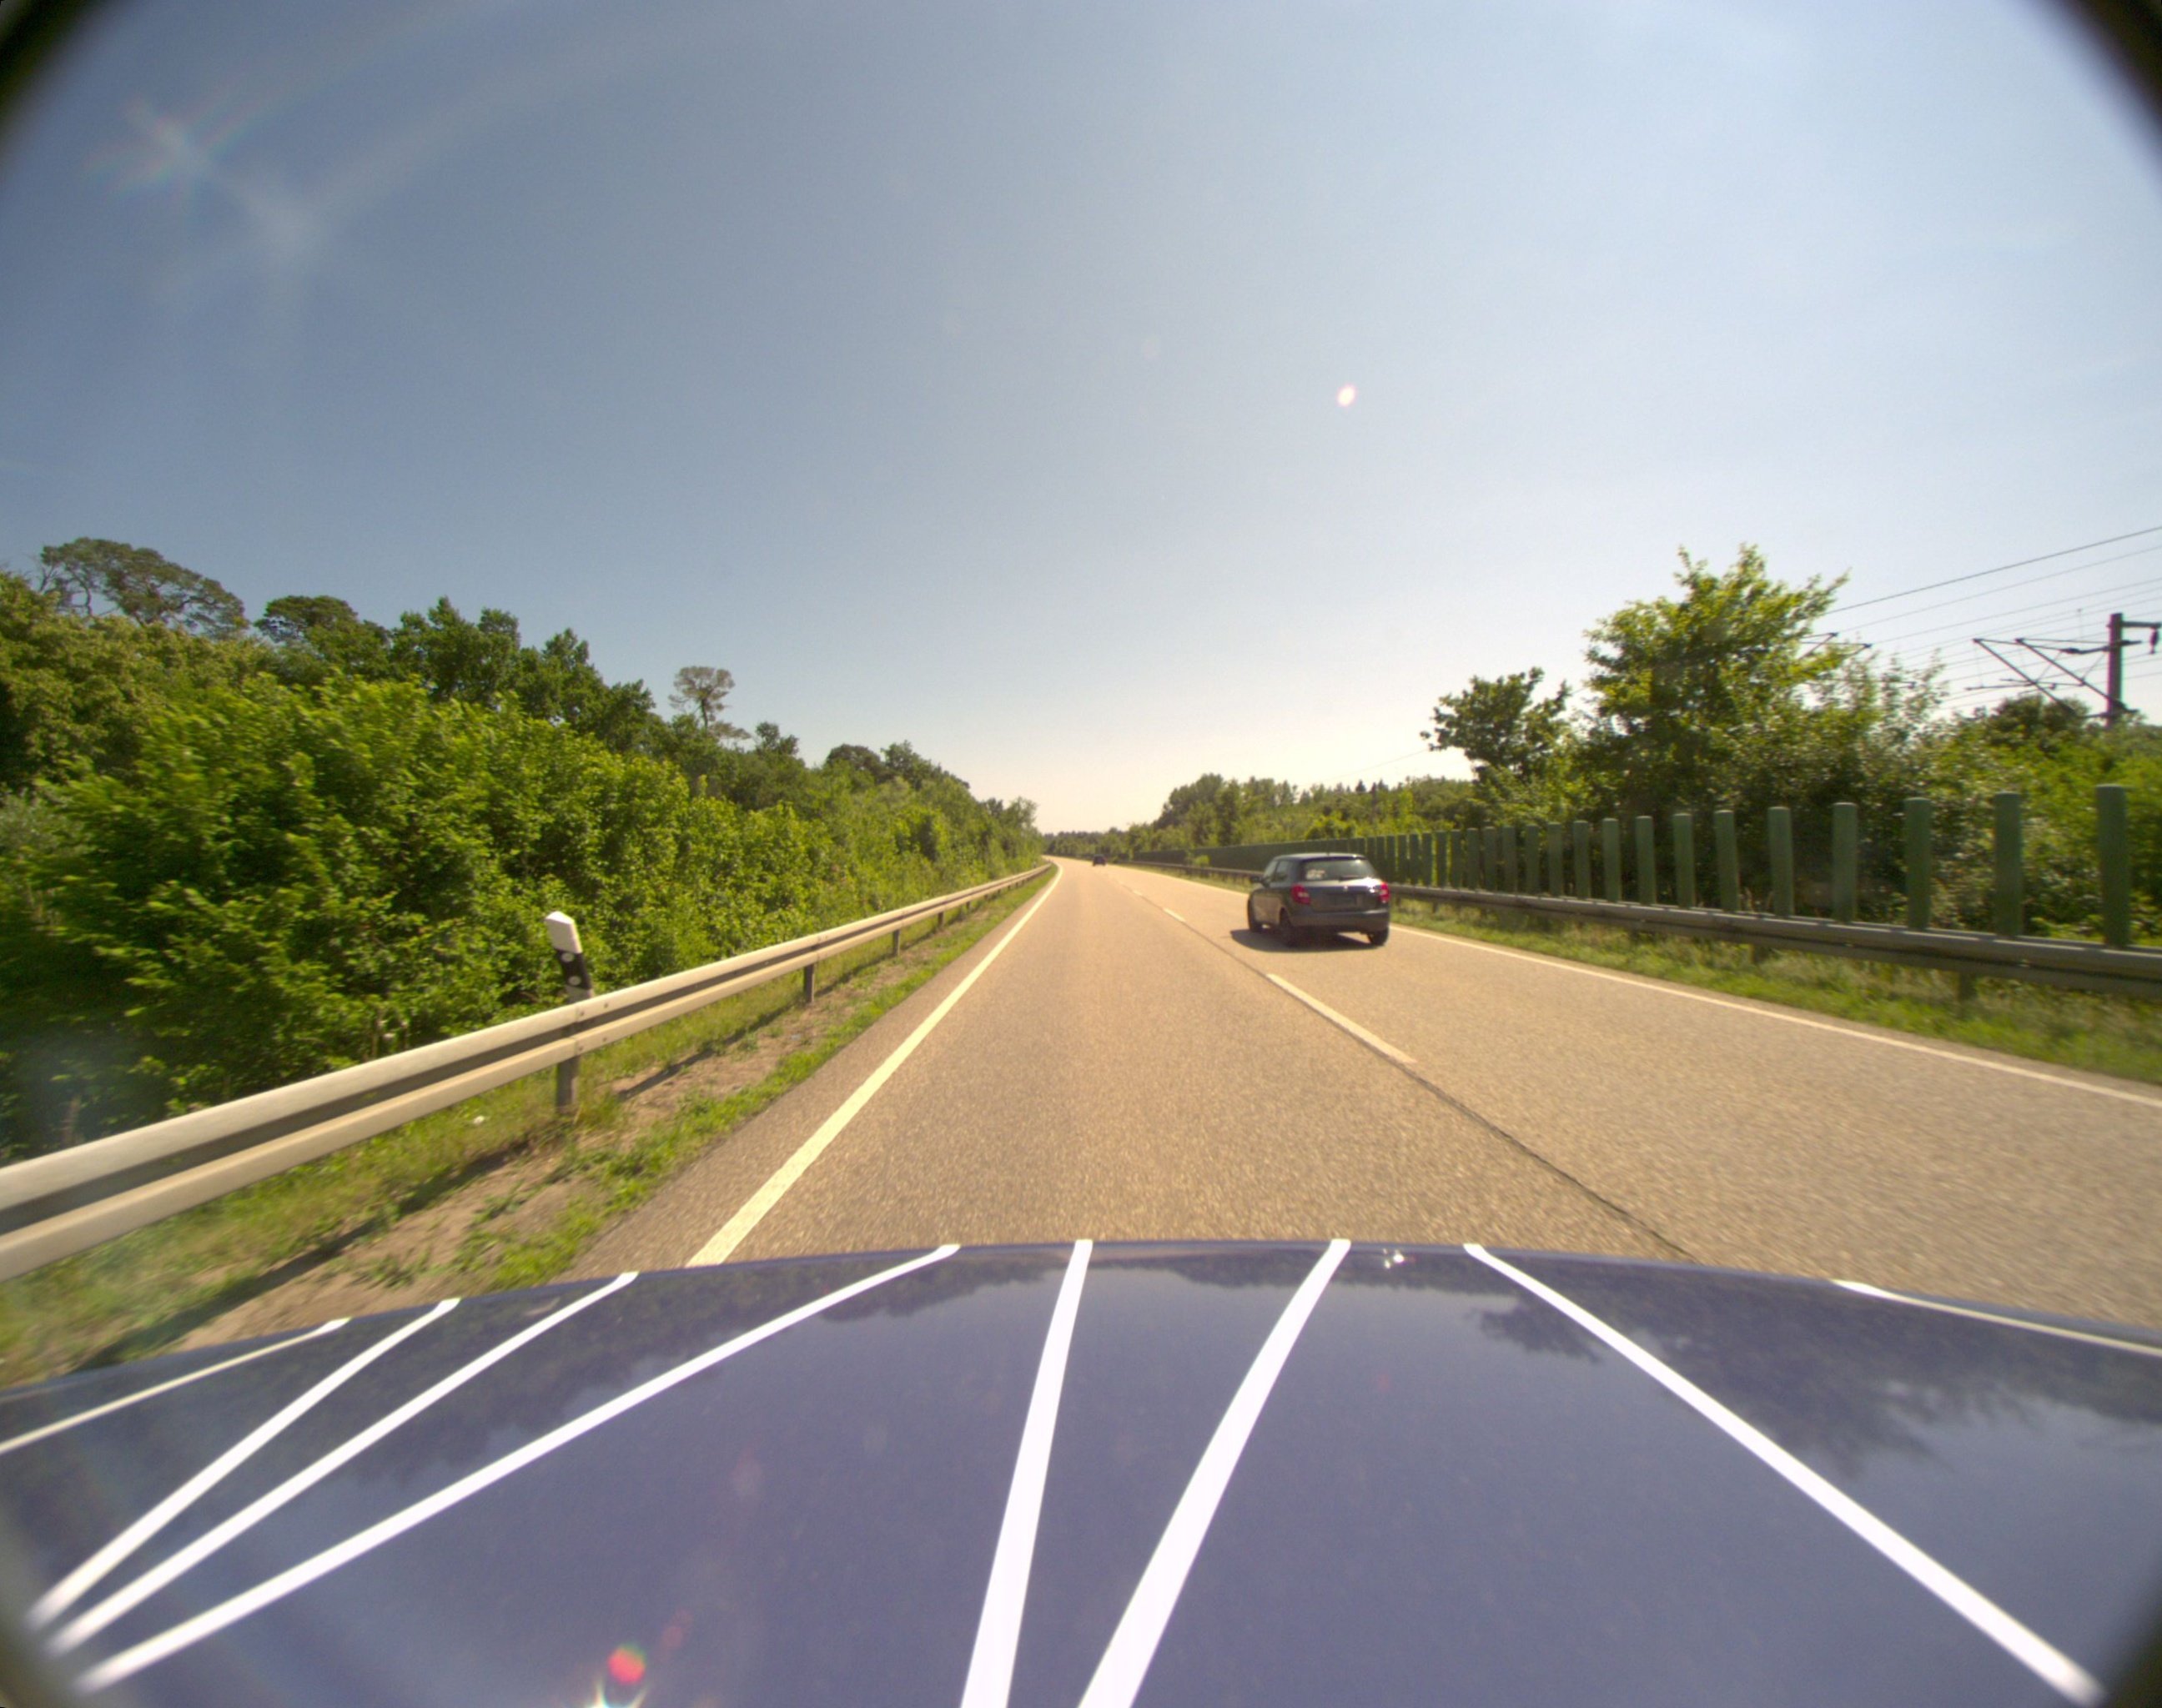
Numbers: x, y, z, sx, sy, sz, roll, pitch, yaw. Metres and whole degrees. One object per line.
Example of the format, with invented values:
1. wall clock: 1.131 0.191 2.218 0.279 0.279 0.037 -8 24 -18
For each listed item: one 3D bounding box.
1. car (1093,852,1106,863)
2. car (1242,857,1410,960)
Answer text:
1. car: 2.780 0.486 113.648 1.768 1.630 4.126 -1 0 0
2. car: 3.994 0.805 13.007 1.652 1.470 3.676 -1 0 -1
